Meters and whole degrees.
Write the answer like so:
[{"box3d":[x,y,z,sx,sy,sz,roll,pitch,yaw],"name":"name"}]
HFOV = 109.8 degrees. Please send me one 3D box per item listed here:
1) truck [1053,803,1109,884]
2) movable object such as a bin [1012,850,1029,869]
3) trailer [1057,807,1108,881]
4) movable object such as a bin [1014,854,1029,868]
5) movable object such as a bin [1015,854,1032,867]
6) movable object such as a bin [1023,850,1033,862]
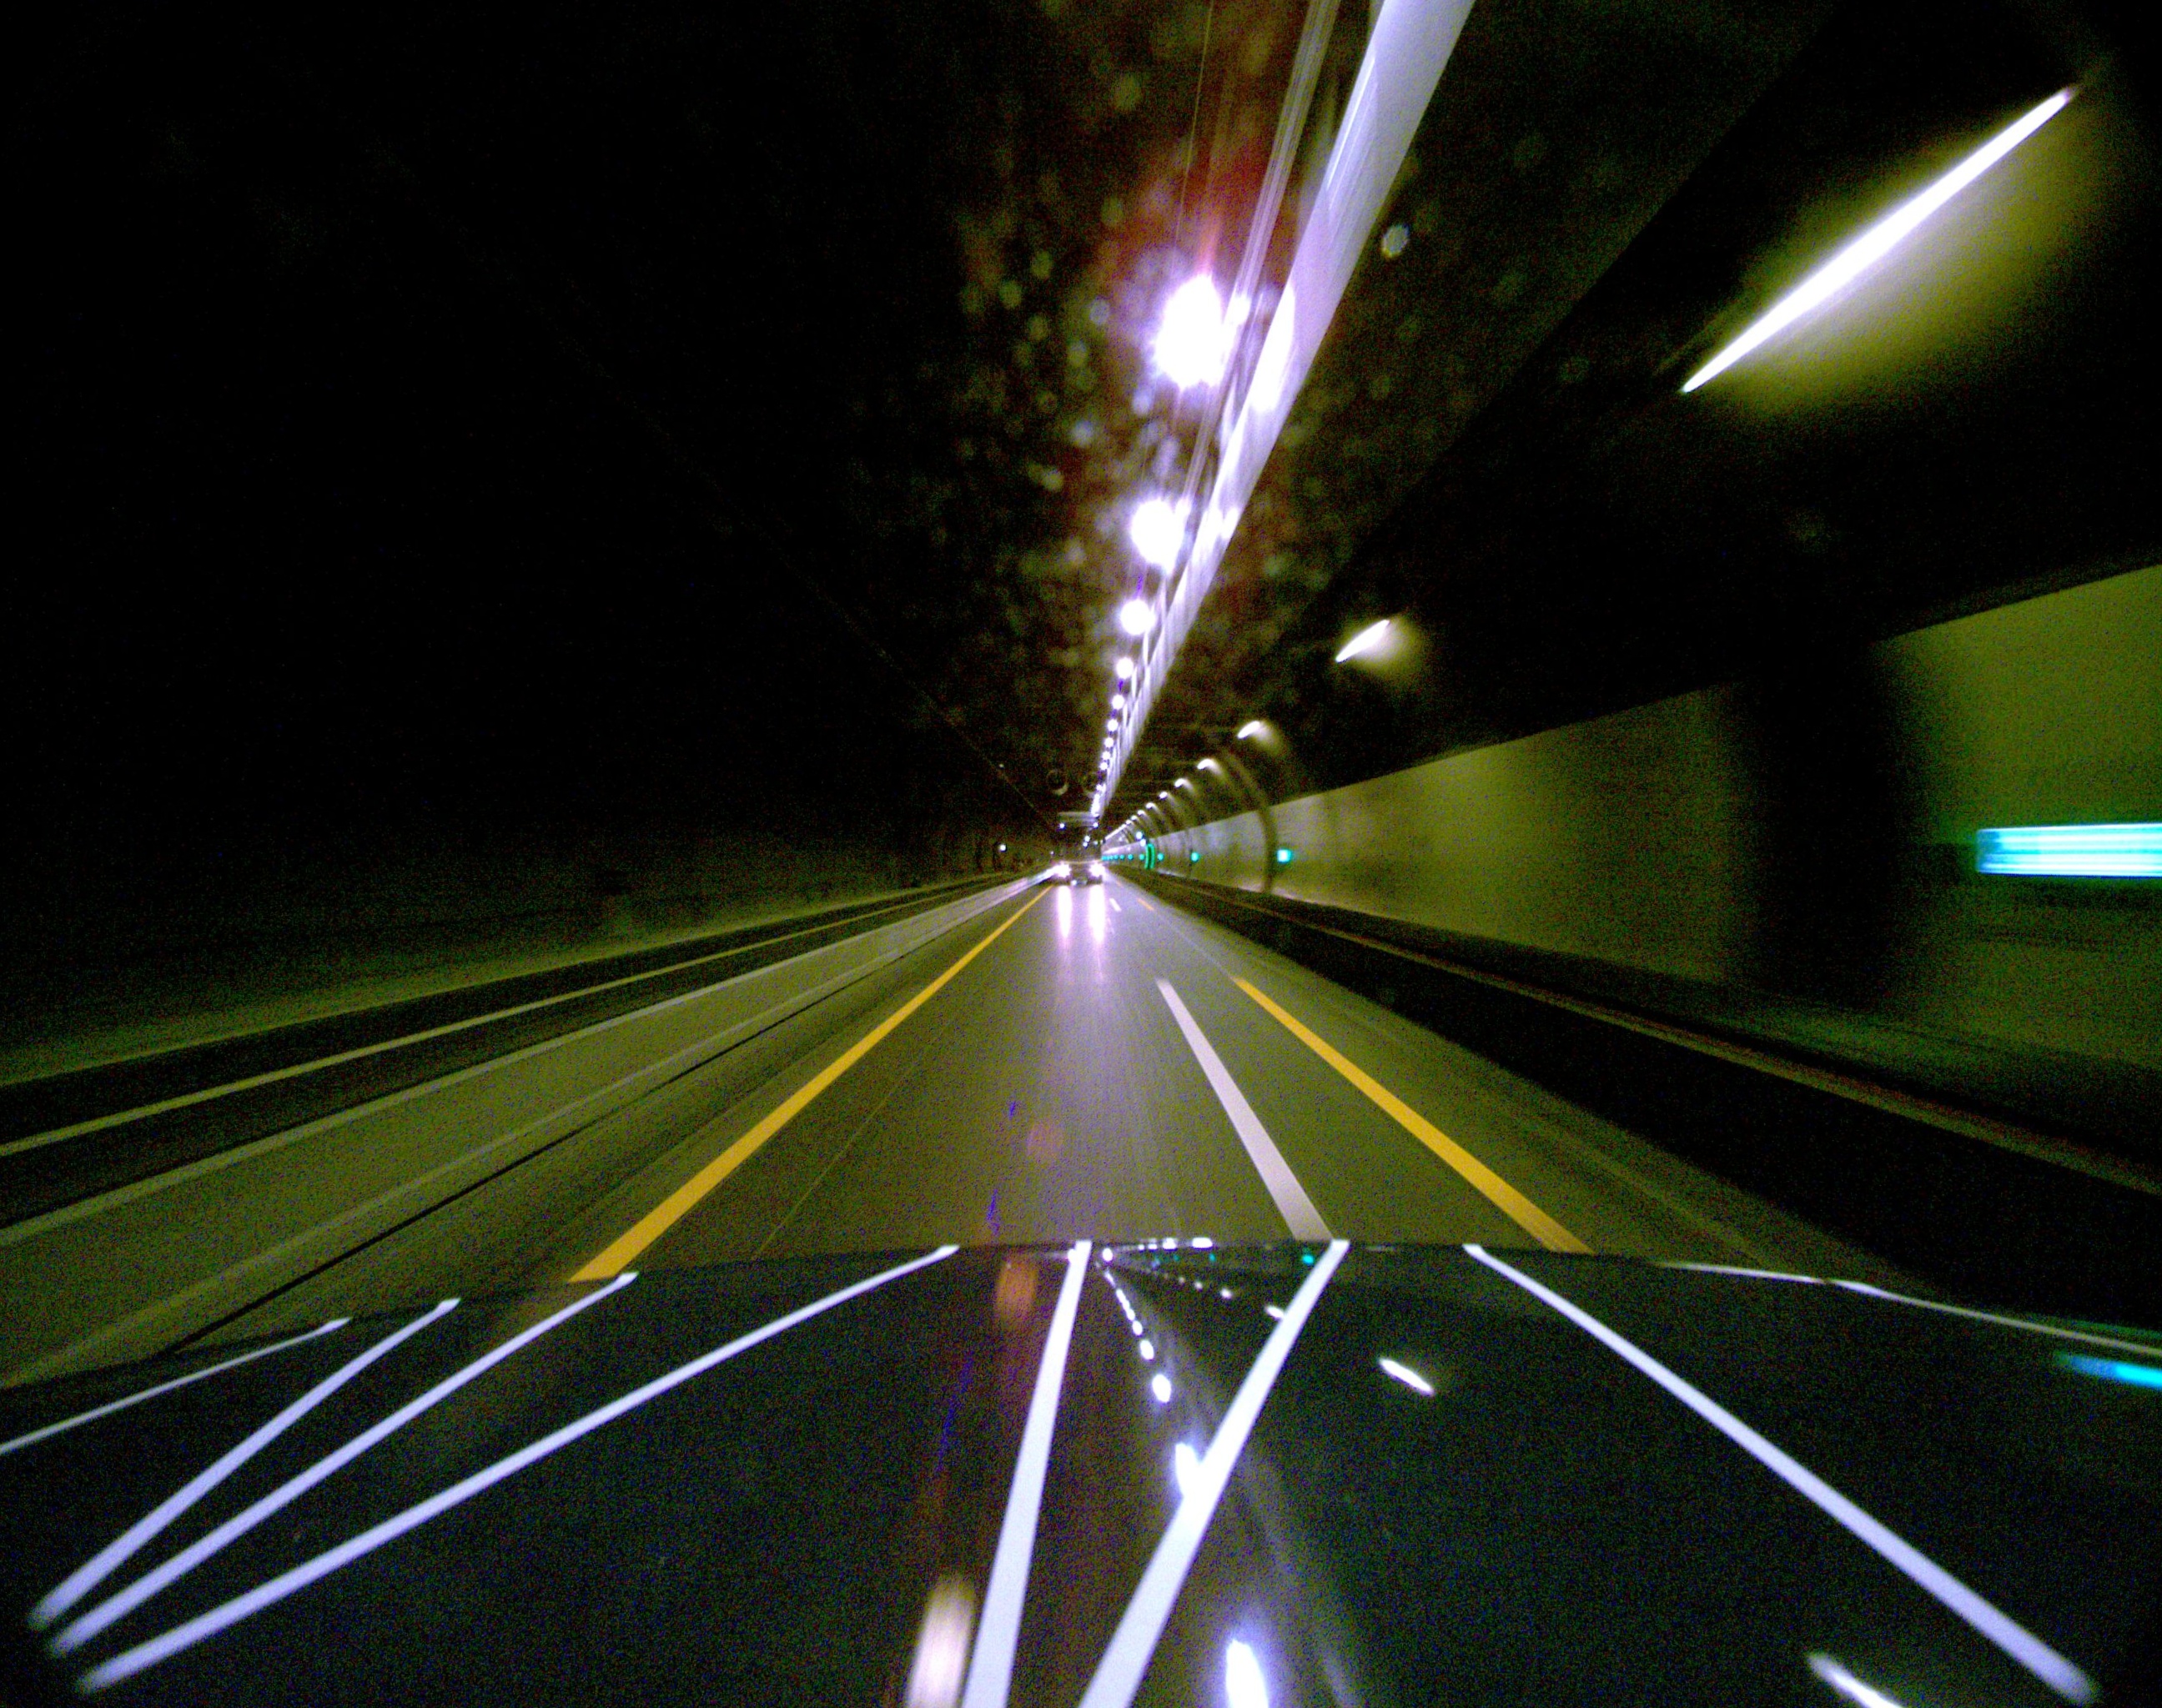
[{"box3d":[0.049,-0.599,45.006,2.951,4.338,6.675,-2,1,1],"name":"truck"},{"box3d":[-7.270,0.610,91.738,1.688,2.133,4.627,-2,1,0],"name":"movable object such as a bin"},{"box3d":[0.124,-0.654,50.574,2.940,4.316,10.051,-2,1,1],"name":"trailer"},{"box3d":[-7.665,0.898,97.869,1.560,1.699,3.054,-2,1,0],"name":"movable object such as a bin"},{"box3d":[-7.757,0.819,102.790,1.865,1.665,4.501,2,0,0],"name":"movable object such as a bin"},{"box3d":[-7.617,0.312,109.341,1.306,1.584,3.055,2,0,0],"name":"movable object such as a bin"}]
